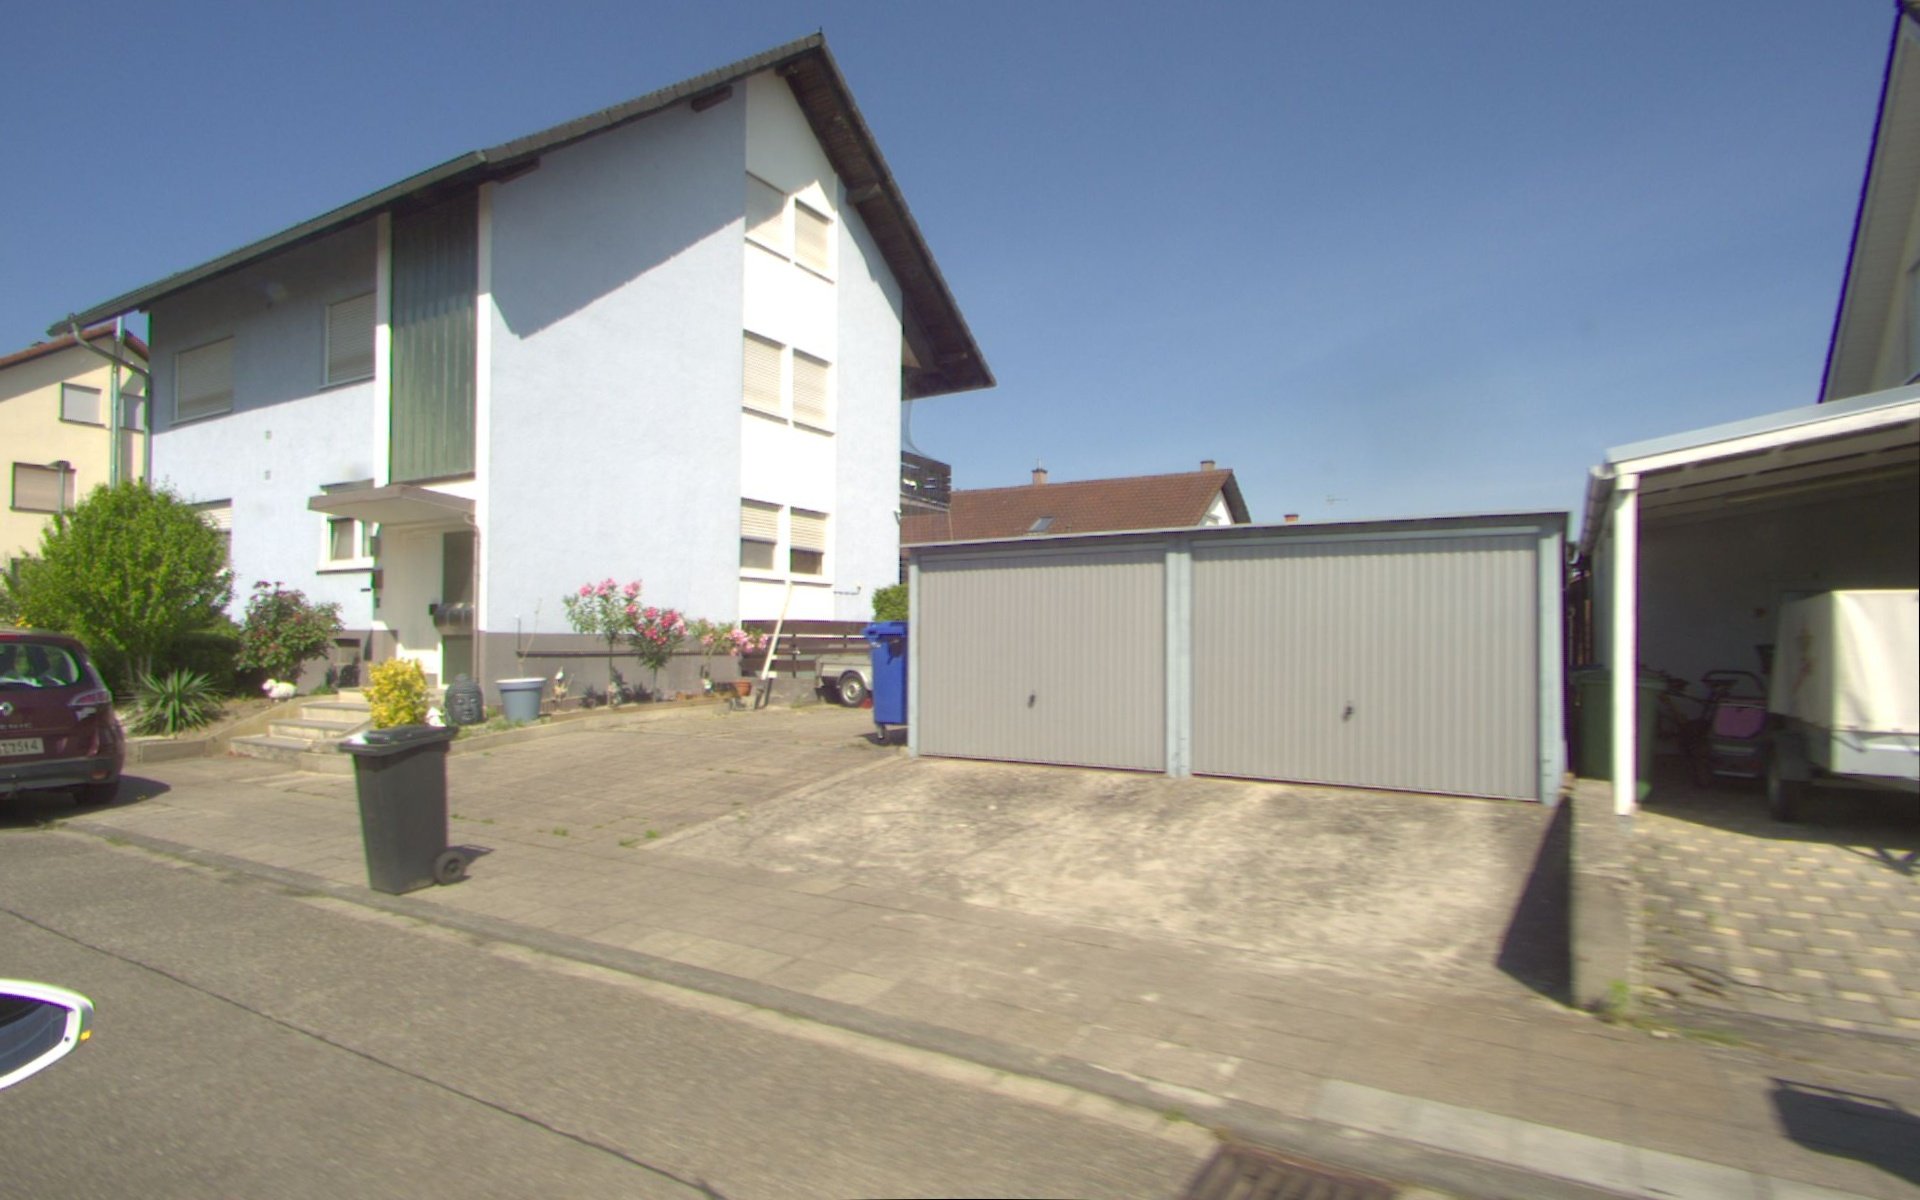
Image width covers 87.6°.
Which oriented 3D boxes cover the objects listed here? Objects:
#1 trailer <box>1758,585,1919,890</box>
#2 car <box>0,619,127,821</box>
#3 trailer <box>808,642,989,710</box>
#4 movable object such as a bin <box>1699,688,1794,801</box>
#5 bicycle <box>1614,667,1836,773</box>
[{"bbox_3d":[6.387,0.810,6.644,1.382,1.711,2.829,0,-2,32],"label":"trailer"},{"bbox_3d":[-9.363,0.981,9.049,4.088,1.601,1.642,-1,-2,32],"label":"car"},{"bbox_3d":[-1.007,1.175,16.037,2.645,0.958,1.325,-1,-2,34],"label":"trailer"},{"bbox_3d":[6.916,1.244,8.833,0.629,0.875,0.830,-1,-2,37],"label":"movable object such as a bin"},{"bbox_3d":[7.979,1.223,10.544,1.802,0.981,0.557,-1,-2,32],"label":"bicycle"}]
